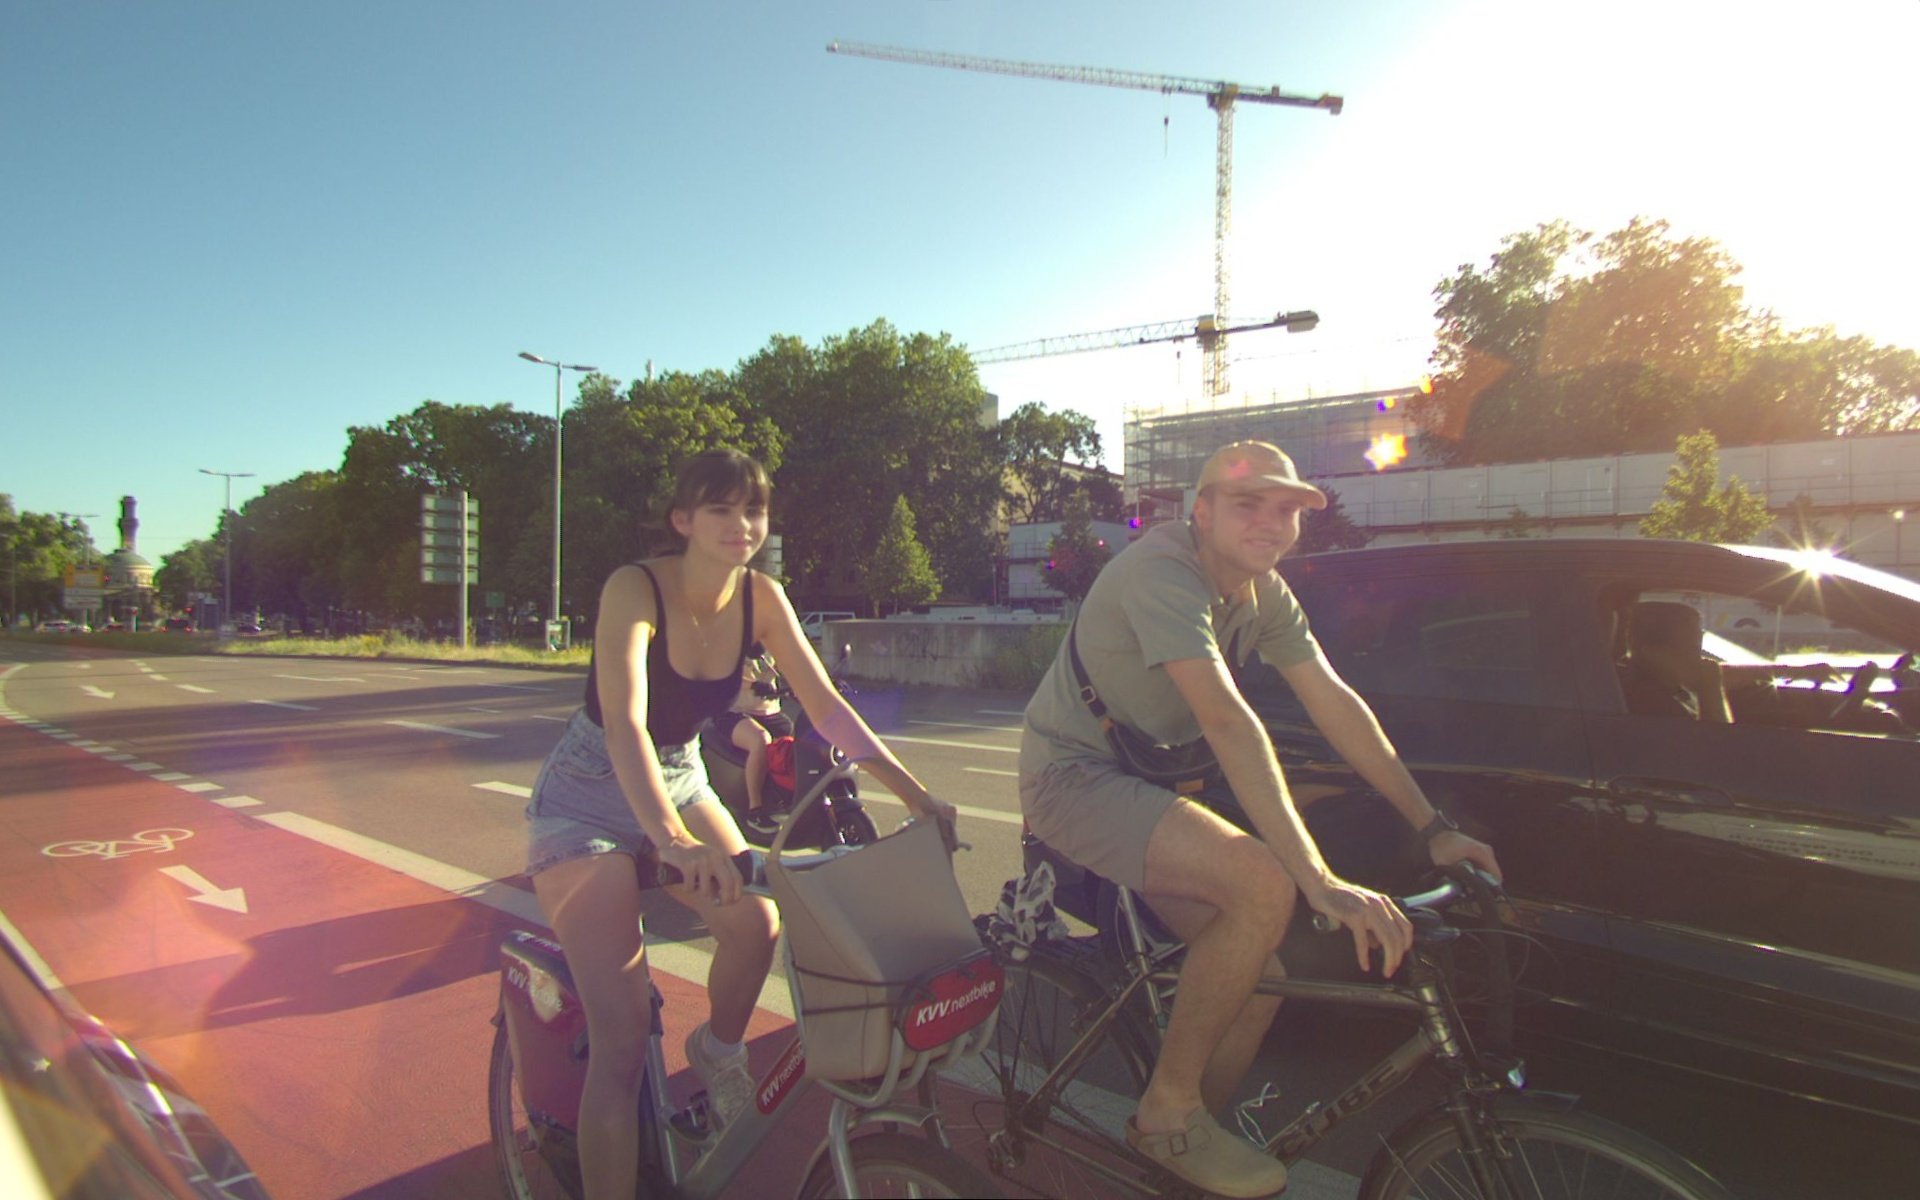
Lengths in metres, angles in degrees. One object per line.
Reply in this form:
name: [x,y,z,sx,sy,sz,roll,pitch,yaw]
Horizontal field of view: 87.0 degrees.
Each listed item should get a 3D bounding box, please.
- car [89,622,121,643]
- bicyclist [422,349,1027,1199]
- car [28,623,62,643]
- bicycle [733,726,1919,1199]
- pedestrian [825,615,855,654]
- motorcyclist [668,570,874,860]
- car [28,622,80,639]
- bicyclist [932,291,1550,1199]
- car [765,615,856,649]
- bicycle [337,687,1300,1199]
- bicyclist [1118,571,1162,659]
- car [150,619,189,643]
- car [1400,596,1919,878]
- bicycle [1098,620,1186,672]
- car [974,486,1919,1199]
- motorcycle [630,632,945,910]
car: [-79.872,3.033,94.527,3.945,1.802,1.725,-1,0,41]
bicyclist: [-0.429,0.480,1.812,0.874,1.591,0.635,-2,-1,39]
car: [-82.618,2.954,91.335,3.998,1.699,1.826,-1,0,41]
bicycle: [0.485,0.875,1.807,1.968,1.118,0.640,-2,-1,39]
pedestrian: [-5.758,1.631,48.397,1.018,1.845,0.977,-1,0,37]
motorcyclist: [-1.080,0.596,5.767,0.917,1.485,0.717,-2,-1,41]
car: [-97.804,3.288,109.276,3.943,1.699,1.851,-1,0,0]
bicyclist: [0.509,0.422,1.819,0.841,1.618,0.709,-1,-1,39]
car: [-9.063,1.924,61.842,2.065,1.950,5.443,-1,-2,42]
bicycle: [-0.407,0.823,1.802,1.829,1.227,0.610,-2,-1,39]
bicyclist: [6.533,0.547,36.741,1.305,3.126,0.831,-1,0,39]
car: [-64.894,2.537,83.048,3.998,1.841,1.796,-1,0,41]
car: [4.973,0.755,6.543,3.603,1.497,1.477,-2,-1,41]
bicycle: [6.578,1.670,36.694,3.079,1.824,0.831,-3,-1,40]
car: [2.415,0.577,3.023,4.677,1.647,1.753,-1,0,40]
motorcycle: [-1.034,0.843,5.727,1.883,1.303,0.715,-2,-1,41]
